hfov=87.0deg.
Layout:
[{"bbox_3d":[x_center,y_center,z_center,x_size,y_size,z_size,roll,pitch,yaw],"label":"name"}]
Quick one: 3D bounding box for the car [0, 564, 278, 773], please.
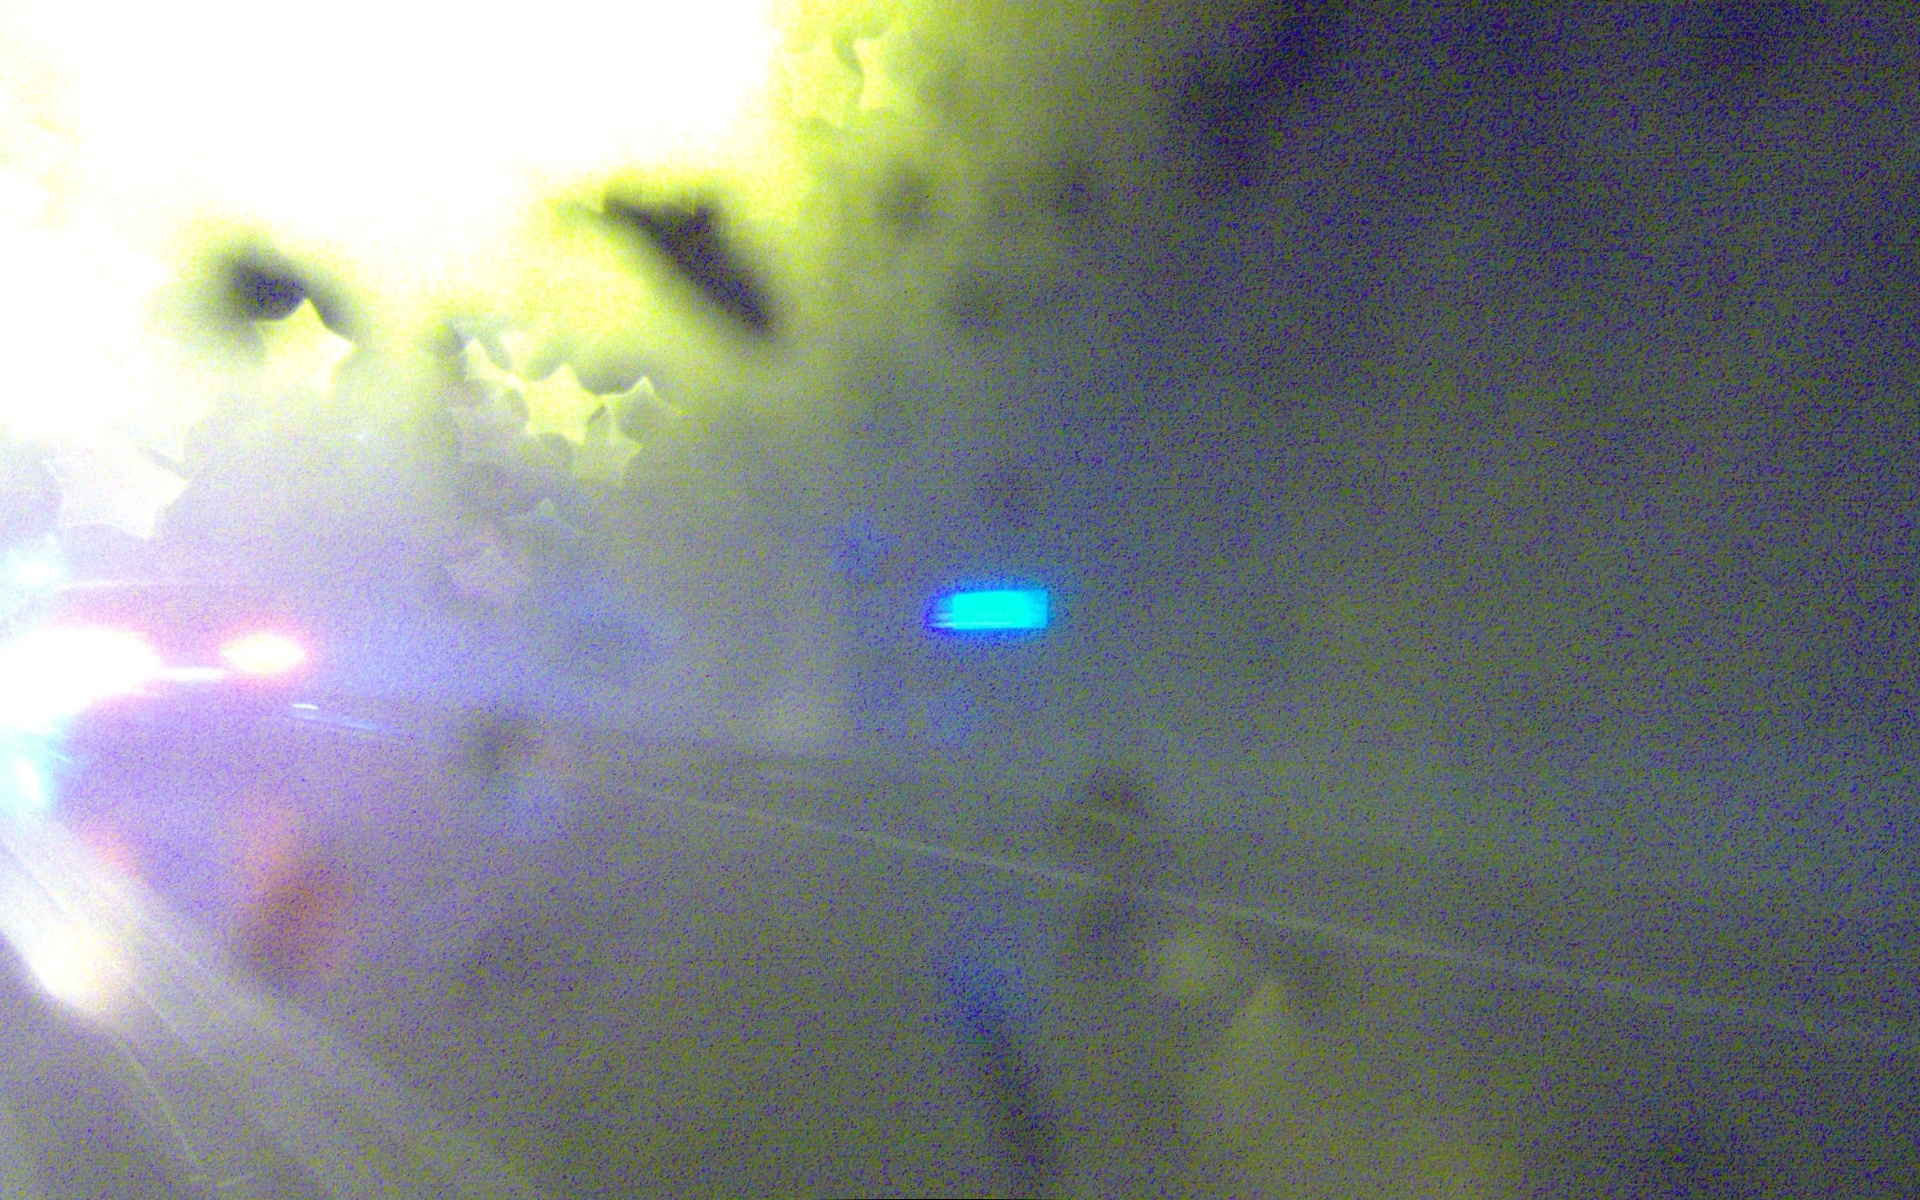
[{"bbox_3d":[-9.747,0.675,11.761,5.135,1.943,1.763,-1,-1,41],"label":"car"}]
